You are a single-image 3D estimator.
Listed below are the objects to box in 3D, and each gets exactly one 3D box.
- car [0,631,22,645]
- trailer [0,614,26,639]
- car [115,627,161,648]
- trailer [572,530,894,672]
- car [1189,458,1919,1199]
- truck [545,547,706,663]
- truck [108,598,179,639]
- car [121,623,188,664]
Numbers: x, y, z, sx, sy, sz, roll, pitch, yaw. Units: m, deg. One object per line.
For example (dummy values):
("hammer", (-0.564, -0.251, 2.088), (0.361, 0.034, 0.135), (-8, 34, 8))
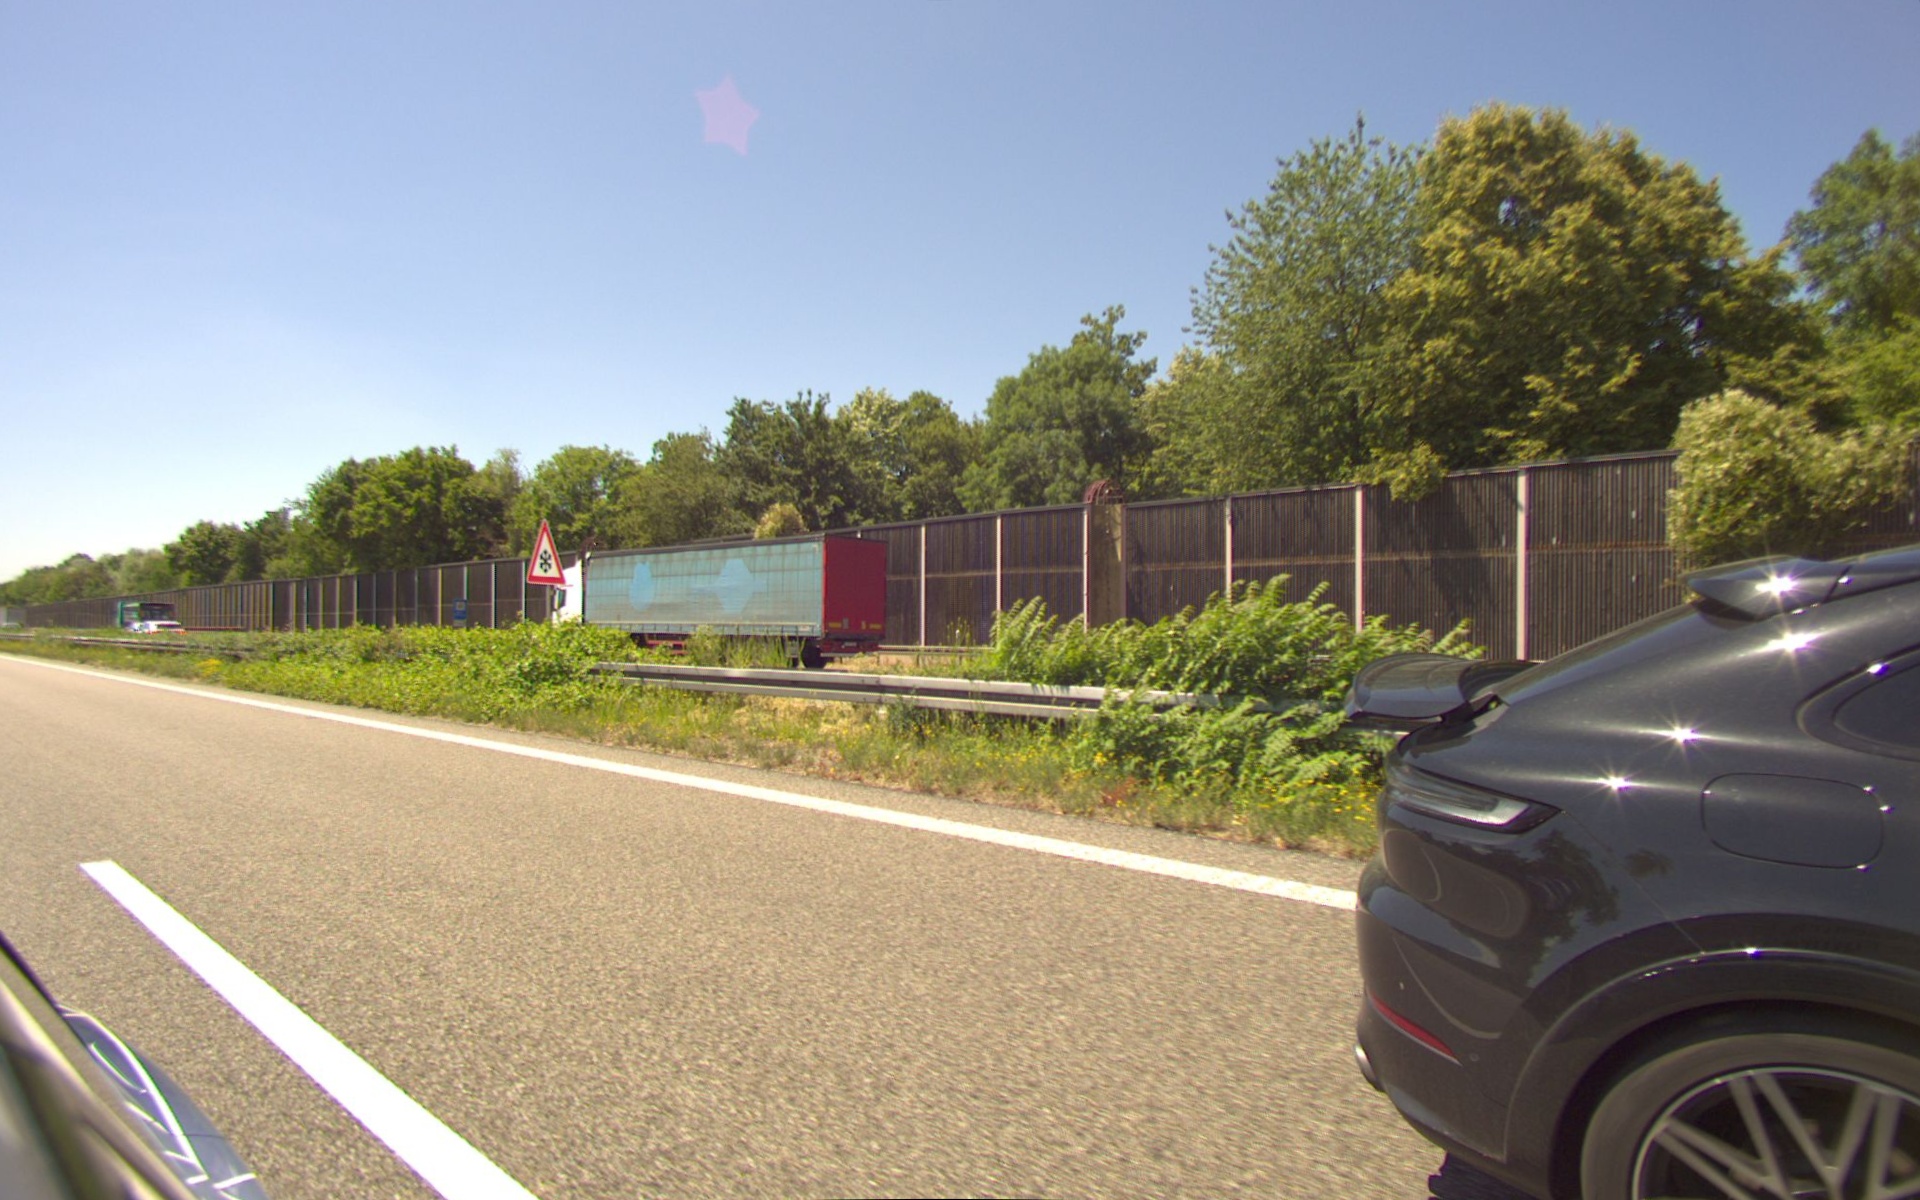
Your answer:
("car", (-104.738, 4.142, 111.294), (5.083, 1.452, 1.845), (-1, -3, 41))
("trailer", (-159.789, 4.530, 170.785), (14.275, 4.118, 2.467), (-2, -3, 44))
("car", (-62.616, 2.846, 77.025), (4.490, 1.602, 1.973), (-1, -2, 41))
("trailer", (-8.303, 0.155, 34.495), (14.296, 4.052, 2.706), (-1, -2, 41))
("car", (3.367, 0.573, 1.241), (5.769, 1.637, 2.022), (-2, -2, 42))
("truck", (-12.753, 0.248, 38.339), (6.729, 4.052, 2.730), (-1, -2, 40))
("truck", (-77.766, 1.794, 96.261), (12.360, 3.703, 3.058), (-1, -3, 41))
("car", (-43.017, 2.281, 53.998), (4.893, 2.029, 1.973), (-2, 0, 41))
